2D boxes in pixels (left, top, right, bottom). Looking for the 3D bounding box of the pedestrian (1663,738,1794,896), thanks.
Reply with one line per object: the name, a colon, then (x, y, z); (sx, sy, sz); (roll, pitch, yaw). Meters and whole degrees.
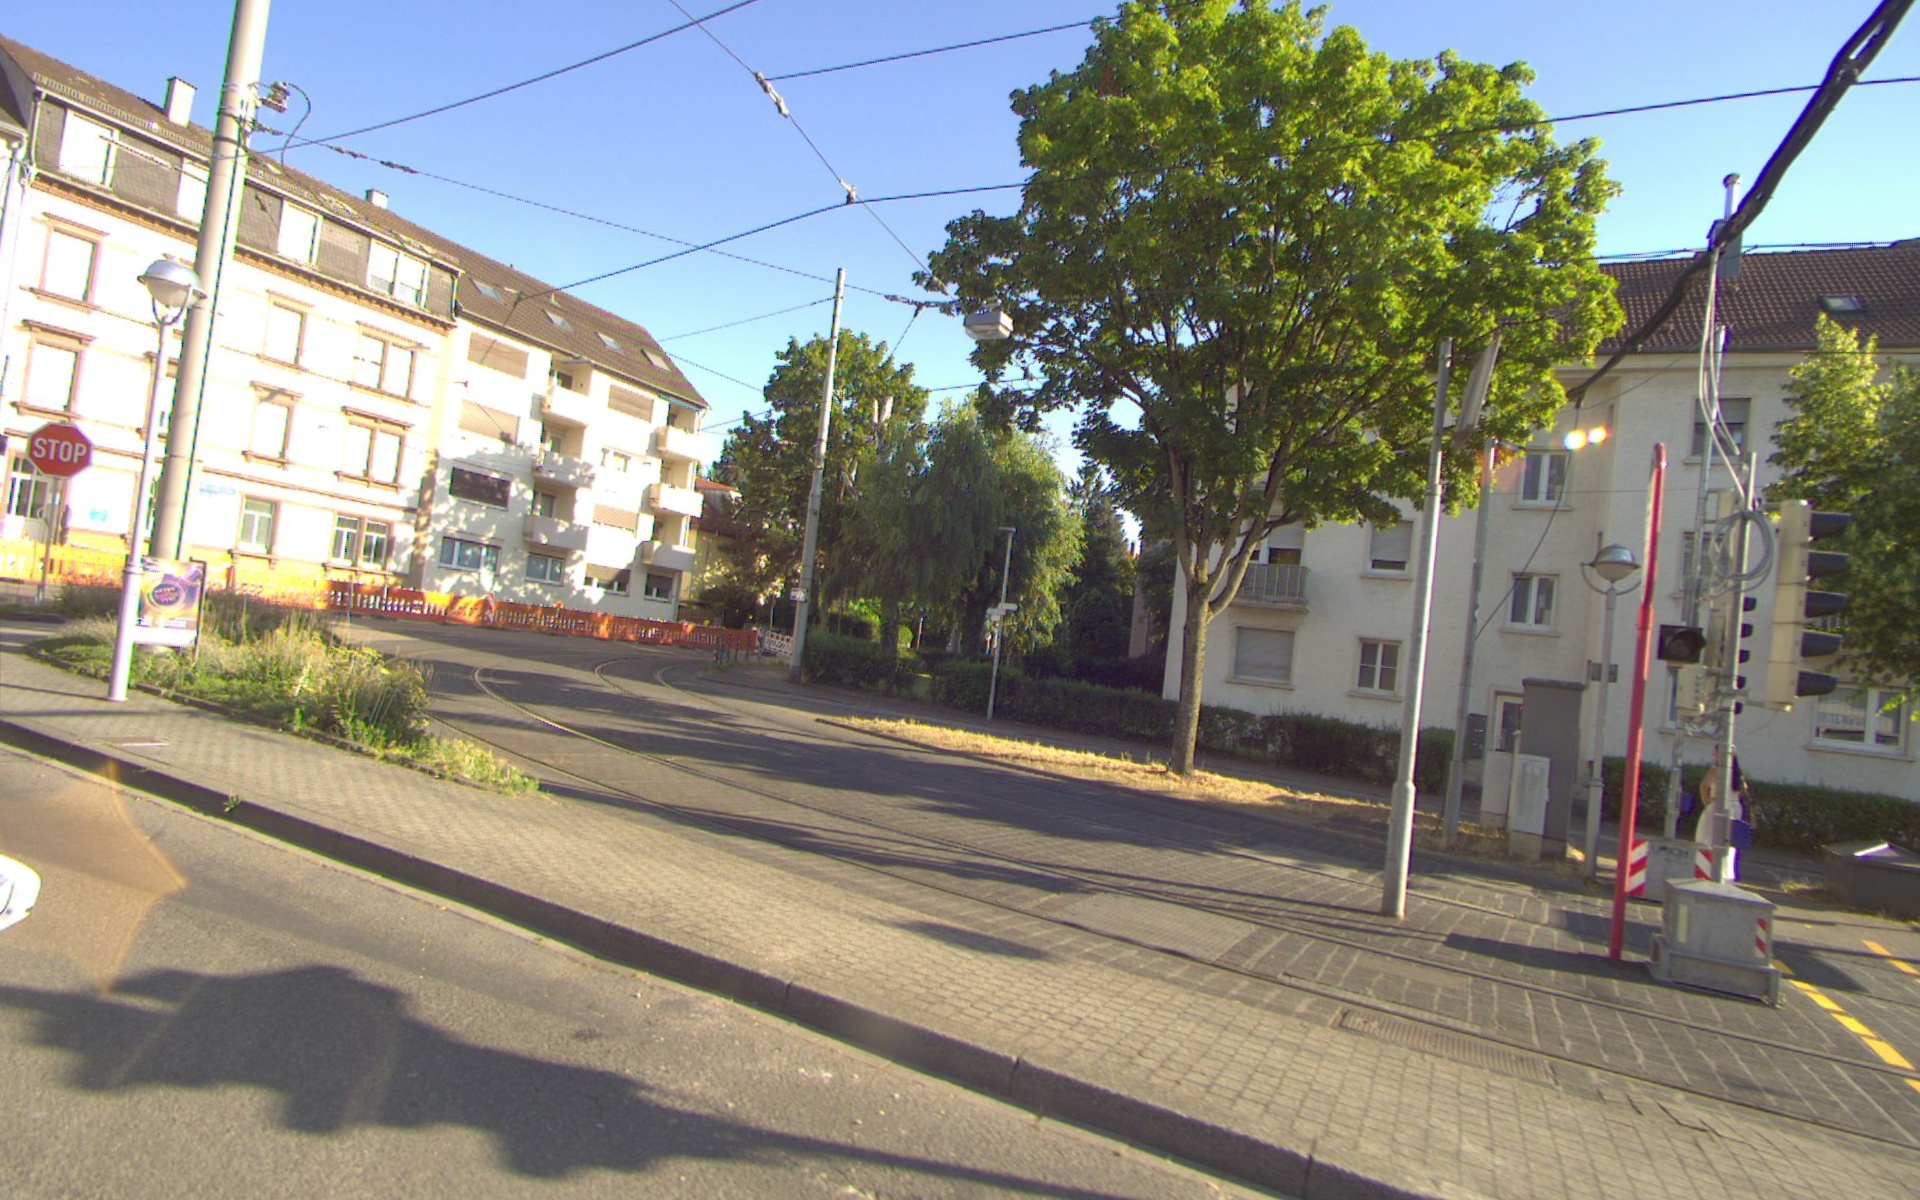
pedestrian: (9.048, 2.526, 11.878); (0.811, 1.639, 0.792); (6, -1, 3)
